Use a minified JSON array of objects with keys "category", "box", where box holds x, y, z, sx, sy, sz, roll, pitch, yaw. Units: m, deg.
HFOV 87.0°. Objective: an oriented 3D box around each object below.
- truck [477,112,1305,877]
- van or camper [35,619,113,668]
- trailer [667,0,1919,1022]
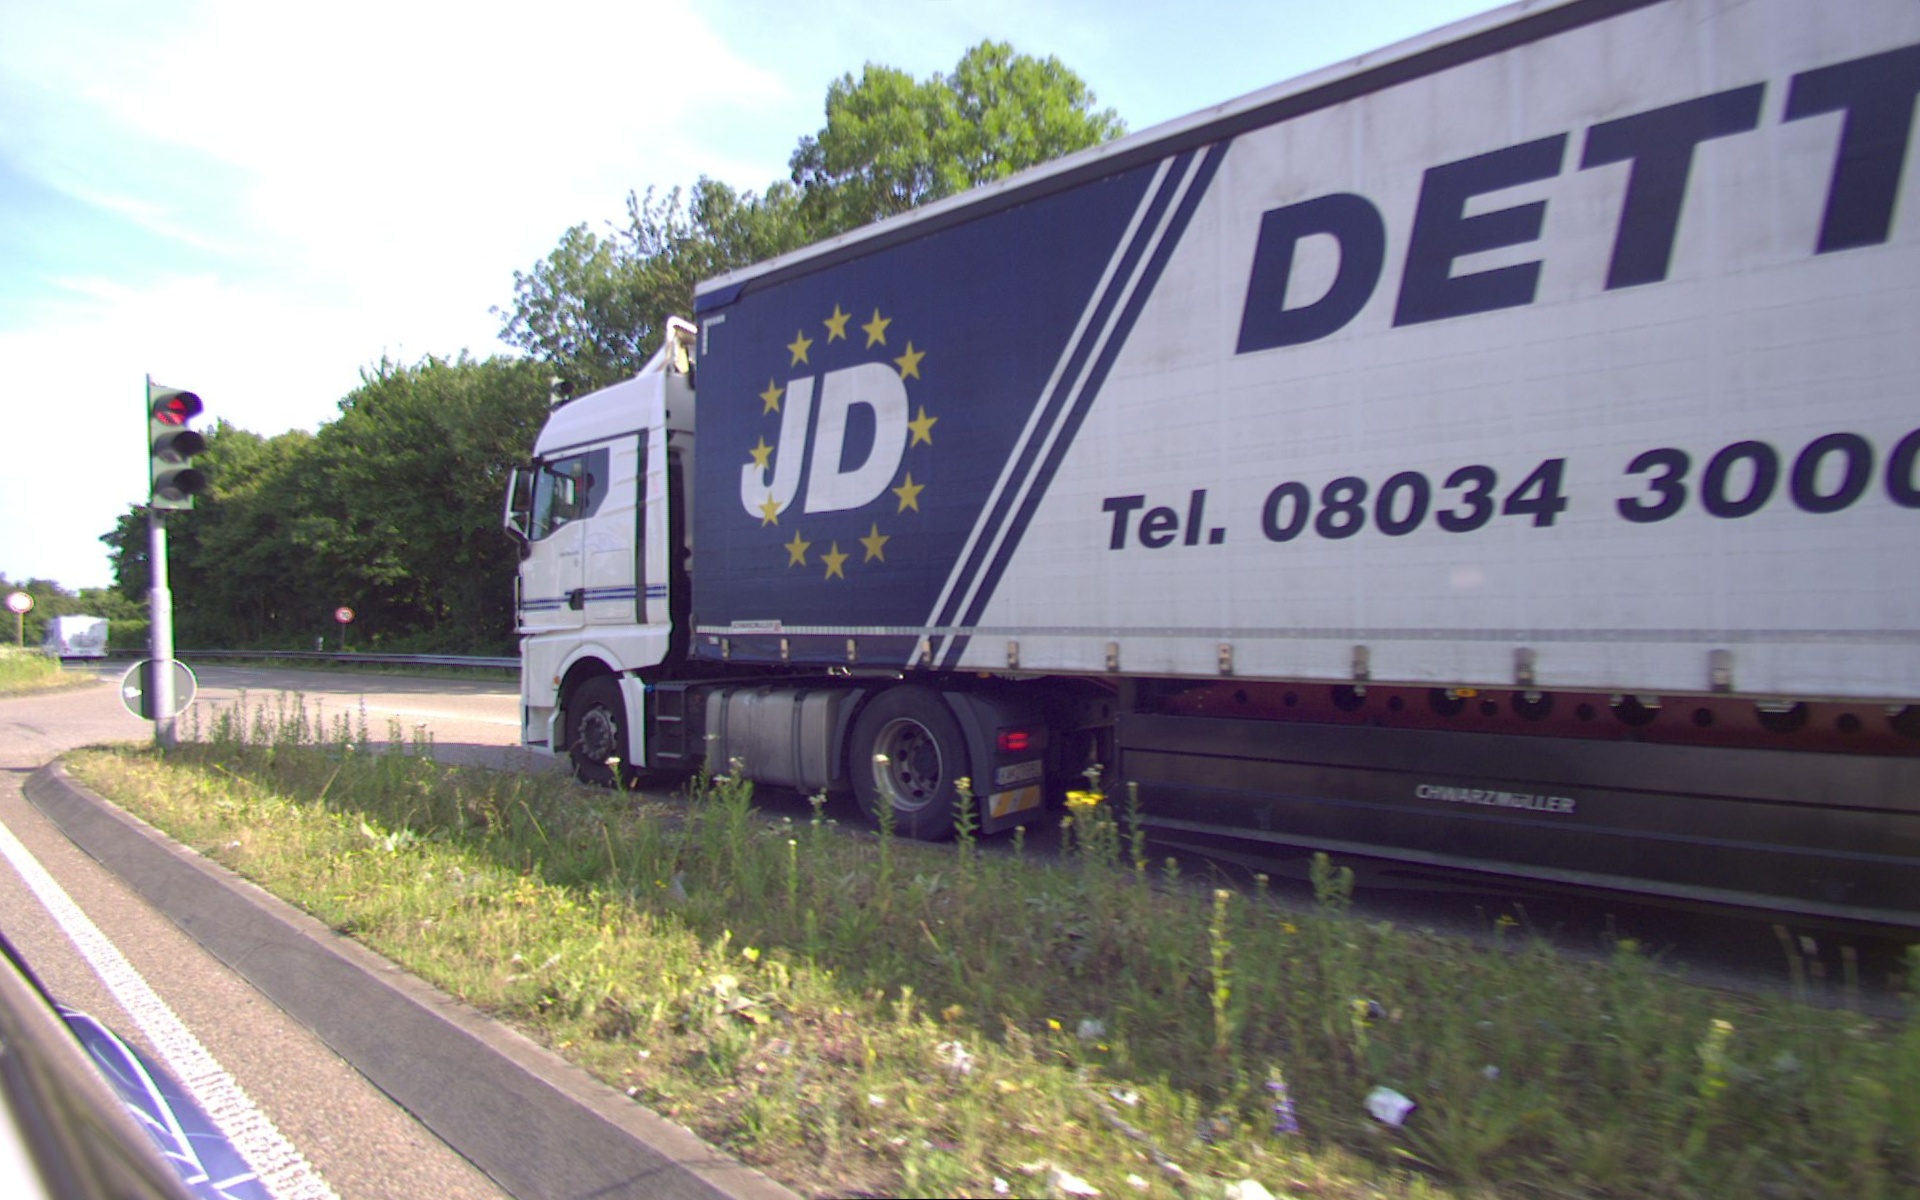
[{"category":"truck","box":[-0.970,-0.437,8.507,6.712,4.028,2.863,-2,-3,38]},{"category":"van or camper","box":[-52.207,2.596,59.587,6.431,2.732,2.388,-2,-4,40]},{"category":"trailer","box":[4.196,-0.598,4.405,13.995,4.027,2.962,-2,-4,38]}]
